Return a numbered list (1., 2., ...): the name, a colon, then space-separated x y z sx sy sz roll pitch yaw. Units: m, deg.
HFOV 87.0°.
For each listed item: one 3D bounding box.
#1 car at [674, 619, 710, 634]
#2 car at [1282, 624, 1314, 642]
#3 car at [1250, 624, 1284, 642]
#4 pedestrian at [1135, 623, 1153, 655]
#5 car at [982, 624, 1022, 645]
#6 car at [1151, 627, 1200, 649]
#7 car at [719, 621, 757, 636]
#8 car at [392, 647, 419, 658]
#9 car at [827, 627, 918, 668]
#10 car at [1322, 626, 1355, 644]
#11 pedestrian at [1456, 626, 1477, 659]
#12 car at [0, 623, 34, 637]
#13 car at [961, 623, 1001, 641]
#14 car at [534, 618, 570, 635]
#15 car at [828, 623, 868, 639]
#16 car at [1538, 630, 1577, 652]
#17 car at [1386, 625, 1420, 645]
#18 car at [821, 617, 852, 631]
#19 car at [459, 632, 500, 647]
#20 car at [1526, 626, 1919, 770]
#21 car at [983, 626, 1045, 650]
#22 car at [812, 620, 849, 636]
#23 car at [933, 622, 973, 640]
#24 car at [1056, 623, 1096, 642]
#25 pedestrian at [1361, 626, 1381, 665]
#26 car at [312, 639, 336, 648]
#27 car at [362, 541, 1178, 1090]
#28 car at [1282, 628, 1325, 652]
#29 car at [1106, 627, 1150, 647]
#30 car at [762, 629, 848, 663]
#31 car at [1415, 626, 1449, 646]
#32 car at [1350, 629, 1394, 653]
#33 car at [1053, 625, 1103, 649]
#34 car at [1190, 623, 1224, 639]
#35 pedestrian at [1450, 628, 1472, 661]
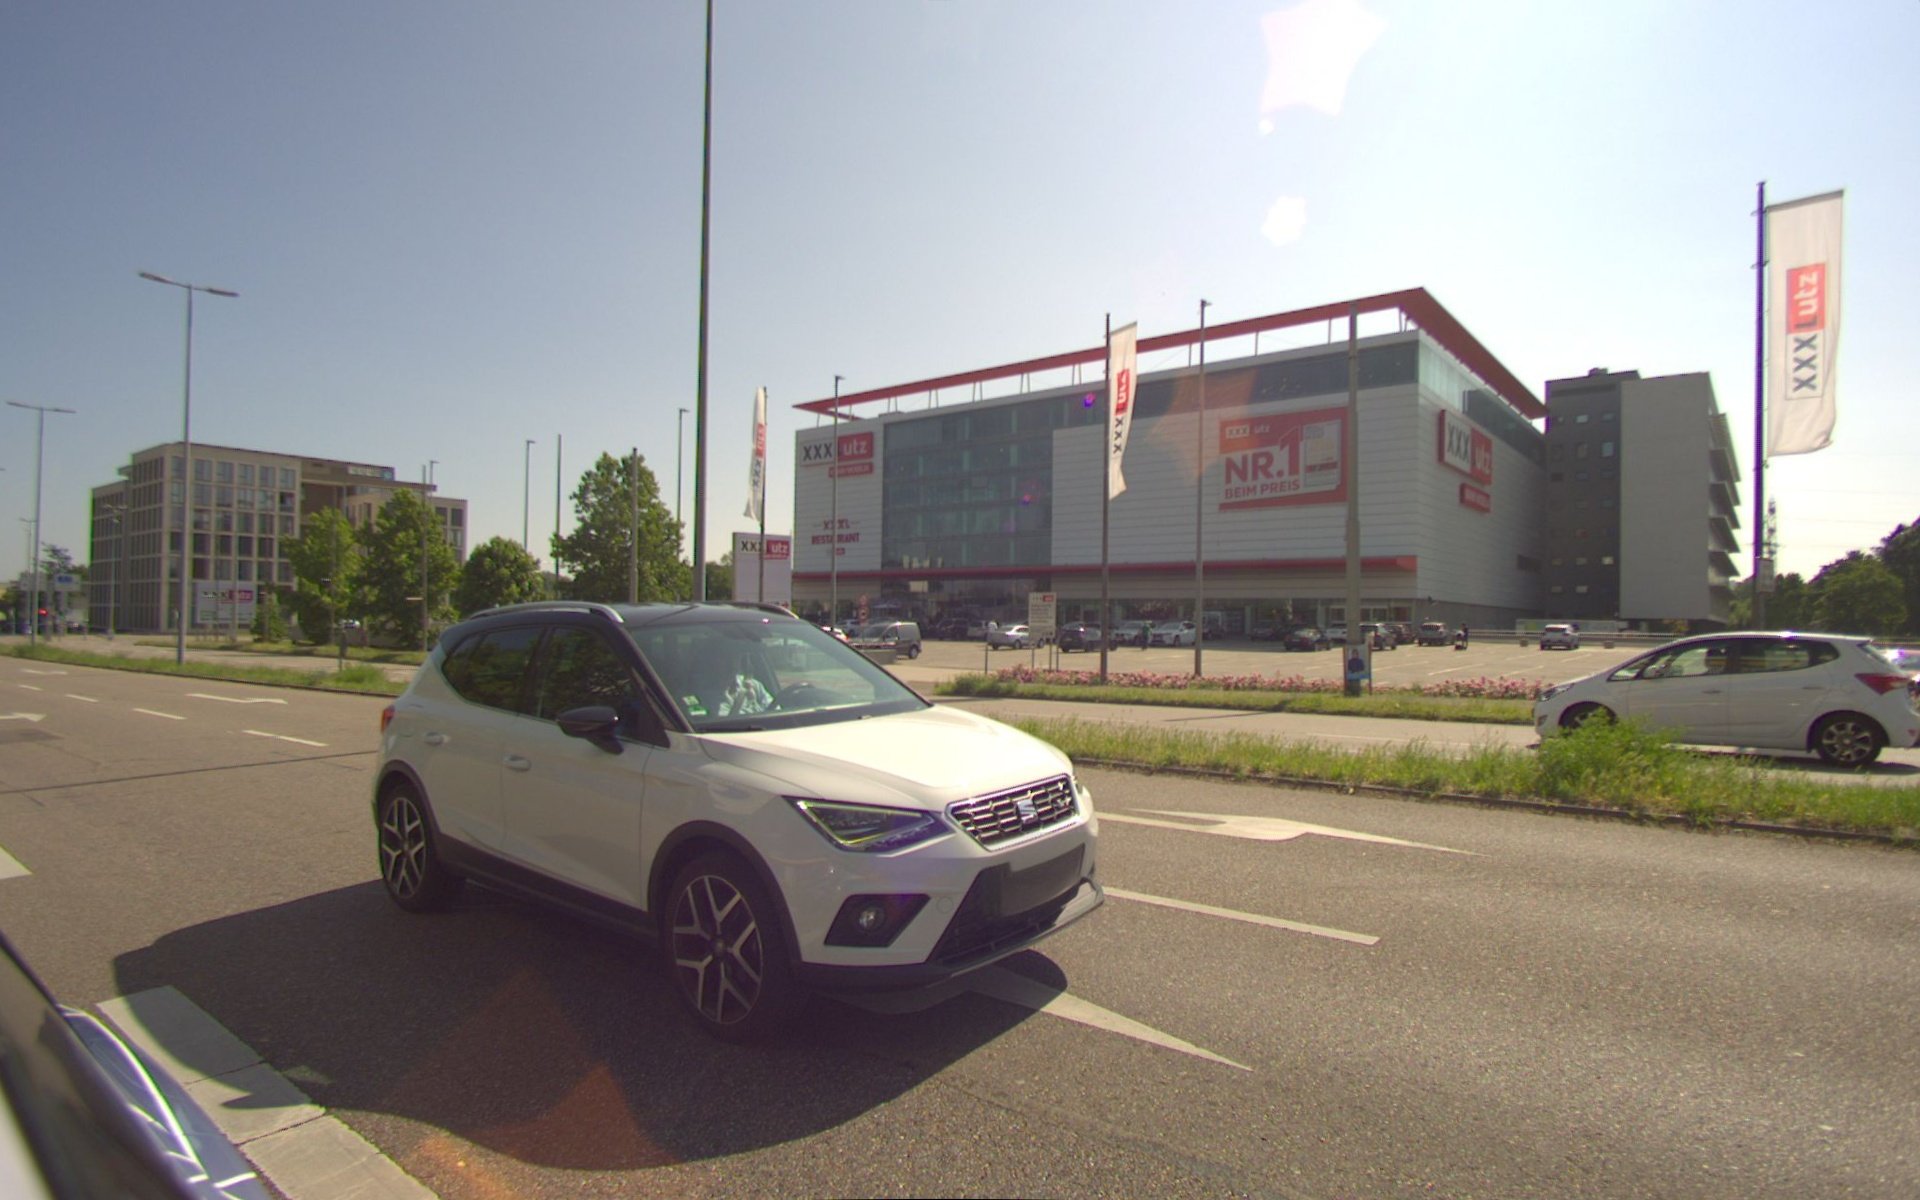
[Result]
1. car: -25.560 2.519 96.567 1.514 1.340 3.058 0 -1 38
2. car: 25.474 2.476 76.238 1.364 1.276 3.058 0 -1 38
3. car: 23.829 2.548 78.516 1.514 1.340 3.058 0 -1 38
4. pedestrian: 11.065 2.332 60.841 0.751 1.872 0.845 -2 -3 39
5. car: 2.847 2.307 68.011 1.313 1.340 2.839 0 -1 38
6. car: 14.393 2.522 67.415 1.514 1.340 4.259 0 -1 38
7. car: -20.824 2.655 94.974 1.514 1.340 3.183 0 -1 38
8. car: -51.429 4.859 93.929 1.069 0.983 1.919 0 -1 36
9. car: -4.180 2.279 49.132 1.943 1.856 4.369 0 -2 38
10. car: 27.736 2.548 74.088 1.440 1.234 3.058 0 -1 38
11. pedestrian: 32.215 2.710 64.410 0.975 2.029 0.936 -2 -3 40
12. car: -138.247 4.353 147.948 3.931 2.029 2.006 2 -2 -30
13. car: 1.616 2.422 76.907 1.514 1.340 3.058 0 -1 38
14. car: -38.867 2.498 96.419 1.772 1.568 2.740 -2 -3 38
15. car: -9.515 2.628 86.179 1.702 1.340 3.058 0 -1 38
16. car: 38.856 2.663 65.749 1.749 1.340 3.627 0 -1 38
17. car: 31.913 2.503 72.867 1.514 1.340 3.058 0 -1 38
18. car: -12.872 2.510 105.462 1.514 1.340 3.058 0 -1 38
19. car: -35.273 2.881 74.332 1.069 1.067 2.490 0 -1 36
20. car: 9.829 1.132 13.082 4.086 1.558 1.774 -1 -1 43
21. car: 3.336 2.310 62.037 1.514 1.340 4.445 0 -1 38
22. car: -11.229 2.450 87.886 1.514 1.340 3.058 0 -1 38
23. car: -0.551 2.396 77.936 1.514 1.303 3.057 0 -1 38
24. car: 8.325 2.310 72.580 1.514 1.340 3.058 0 -1 38
25. pedestrian: 20.109 2.215 49.503 0.770 1.909 0.500 1 -3 -20
26. car: -68.440 4.690 108.925 0.888 0.983 1.919 0 -1 36
27. car: -1.145 0.698 4.681 3.866 1.509 1.614 -4 -3 40
28. car: 20.565 2.395 60.563 1.514 1.340 3.058 0 -1 38
29. car: 11.402 2.487 68.524 1.586 1.340 3.373 -2 -3 36
30. car: -7.999 2.338 52.551 1.868 1.640 4.371 1 -1 37
31. car: 33.061 2.509 70.860 1.514 1.340 3.058 0 -1 38
32. car: 25.333 2.507 62.195 1.777 1.340 3.058 0 -1 38
33. car: 6.878 2.110 58.813 1.514 1.340 3.058 0 -1 38
34. car: 19.658 2.489 80.650 1.514 1.234 3.058 0 -1 38
35. pedestrian: 31.374 2.772 63.387 0.975 2.029 0.936 -2 -3 40
